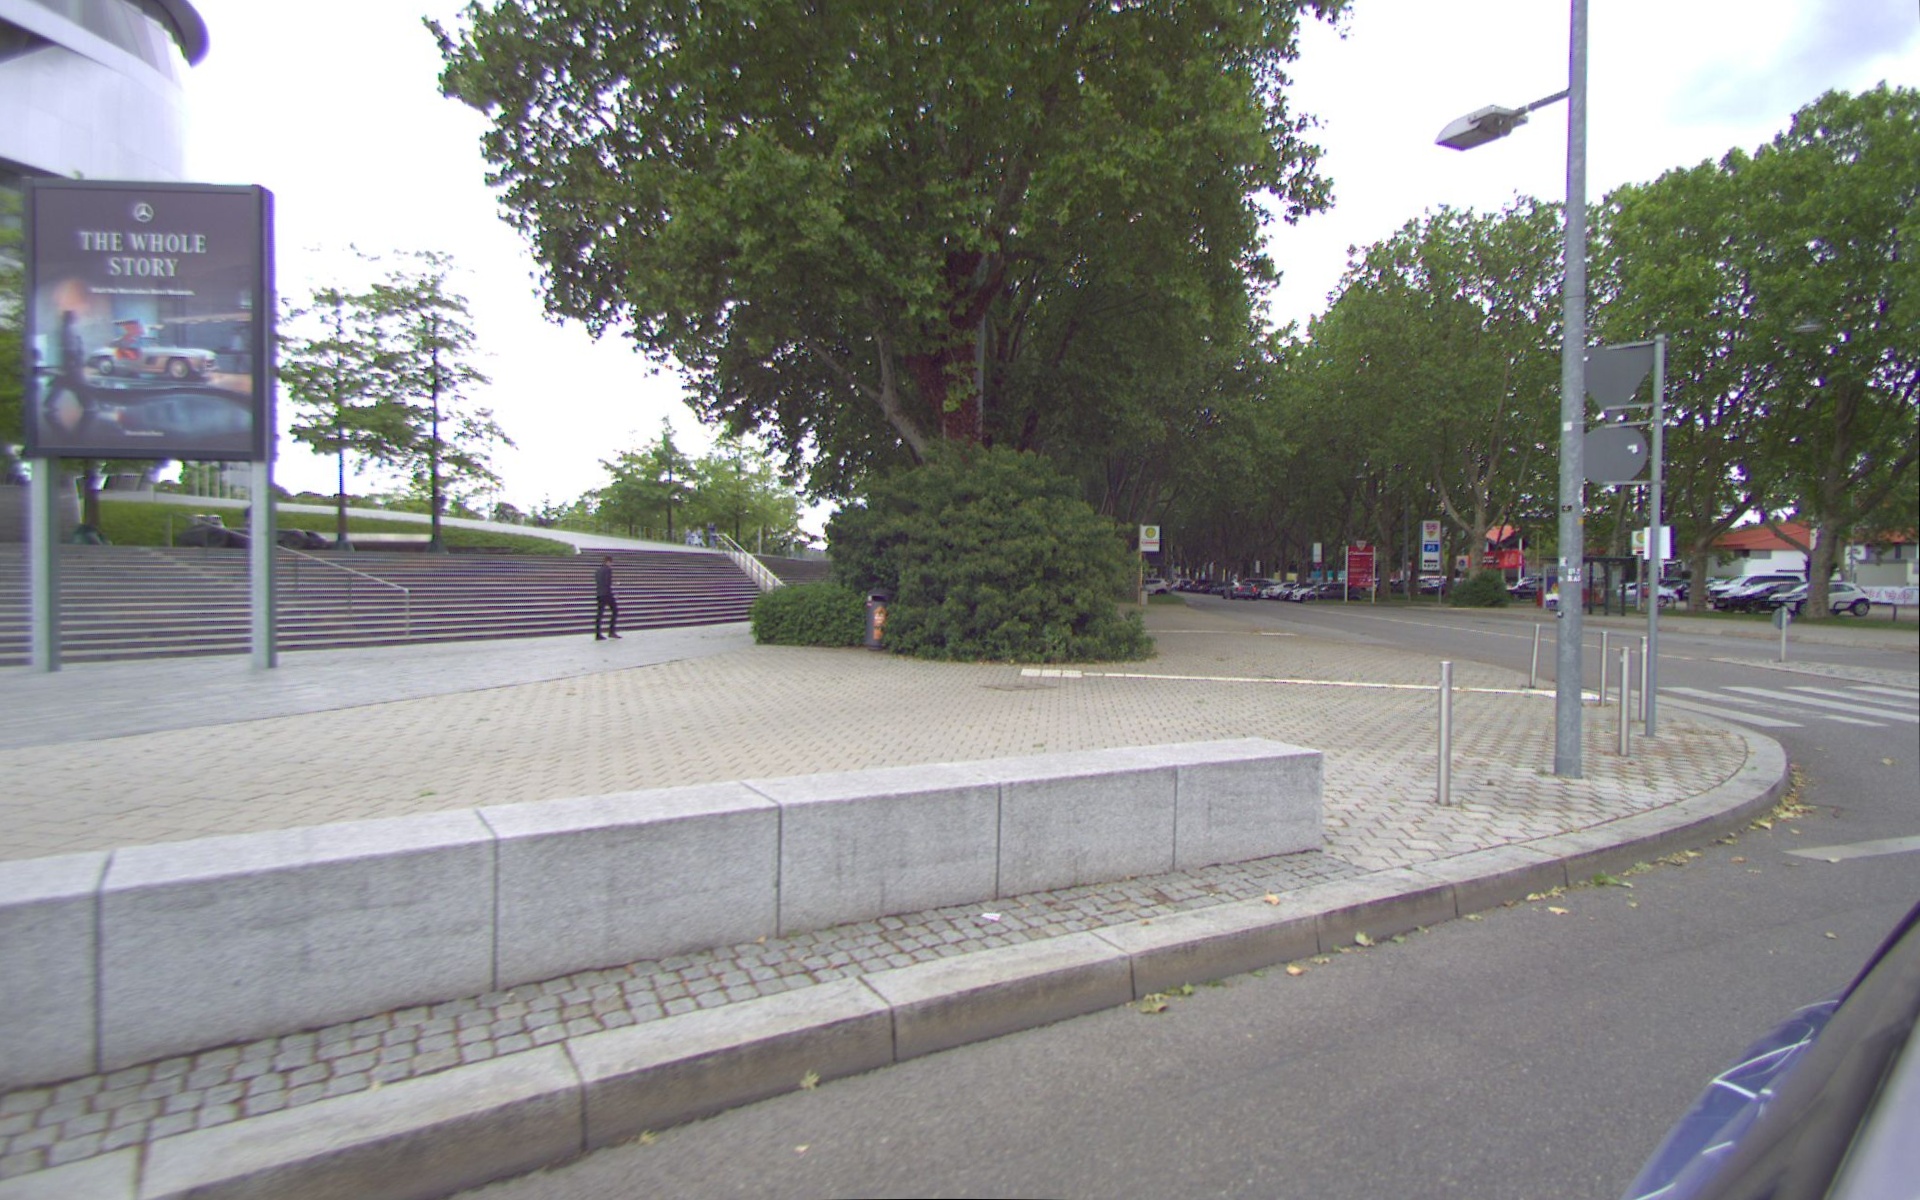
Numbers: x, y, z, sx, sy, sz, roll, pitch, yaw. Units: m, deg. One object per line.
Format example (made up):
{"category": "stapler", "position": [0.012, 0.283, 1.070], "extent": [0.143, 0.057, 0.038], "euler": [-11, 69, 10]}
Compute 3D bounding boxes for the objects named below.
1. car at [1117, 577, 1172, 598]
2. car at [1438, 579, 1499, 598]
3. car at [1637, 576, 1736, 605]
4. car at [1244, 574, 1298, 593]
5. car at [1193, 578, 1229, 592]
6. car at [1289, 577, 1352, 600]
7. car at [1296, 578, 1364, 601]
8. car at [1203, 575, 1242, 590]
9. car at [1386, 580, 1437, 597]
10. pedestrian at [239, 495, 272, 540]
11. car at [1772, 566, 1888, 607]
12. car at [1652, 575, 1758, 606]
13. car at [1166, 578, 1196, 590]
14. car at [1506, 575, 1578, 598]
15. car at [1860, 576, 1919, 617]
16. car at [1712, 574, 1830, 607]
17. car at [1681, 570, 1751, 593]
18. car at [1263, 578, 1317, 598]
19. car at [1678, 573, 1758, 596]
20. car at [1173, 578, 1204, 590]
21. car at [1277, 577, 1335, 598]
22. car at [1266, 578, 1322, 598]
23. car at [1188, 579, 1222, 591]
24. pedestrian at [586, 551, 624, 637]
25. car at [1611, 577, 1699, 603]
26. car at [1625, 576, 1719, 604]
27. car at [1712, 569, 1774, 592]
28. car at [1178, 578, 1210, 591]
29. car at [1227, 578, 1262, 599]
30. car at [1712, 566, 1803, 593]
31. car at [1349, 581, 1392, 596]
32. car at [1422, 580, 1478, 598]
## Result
{"category": "car", "position": [13.798, -0.949, 75.884], "extent": [3.938, 1.538, 1.869], "euler": [0, 0, 6]}
{"category": "car", "position": [40.459, -0.903, 80.608], "extent": [3.947, 1.538, 1.864], "euler": [0, 0, 13]}
{"category": "car", "position": [39.701, -0.530, 55.367], "extent": [3.945, 1.538, 1.865], "euler": [0, 0, 12]}
{"category": "car", "position": [28.032, -1.446, 91.340], "extent": [4.361, 1.673, 1.793], "euler": [0, 0, 7]}
{"category": "car", "position": [28.972, -1.758, 116.987], "extent": [3.945, 1.538, 1.865], "euler": [0, 0, 12]}
{"category": "car", "position": [25.580, -0.814, 71.928], "extent": [3.945, 1.538, 1.865], "euler": [0, 0, 12]}
{"category": "car", "position": [25.417, -0.732, 69.640], "extent": [4.112, 1.538, 1.865], "euler": [0, 0, 12]}
{"category": "car", "position": [28.137, -1.904, 108.502], "extent": [3.945, 1.538, 1.865], "euler": [0, 0, 12]}
{"category": "car", "position": [41.880, -1.069, 93.968], "extent": [3.947, 1.538, 1.864], "euler": [0, 0, 13]}
{"category": "pedestrian", "position": [-22.562, -2.633, 32.421], "extent": [0.775, 1.405, 0.684], "euler": [0, 0, -26]}
{"category": "car", "position": [39.383, -0.594, 45.881], "extent": [3.649, 1.800, 1.667], "euler": [0, 0, 8]}
{"category": "car", "position": [38.354, -0.492, 52.192], "extent": [3.945, 1.538, 1.865], "euler": [0, 0, 12]}
{"category": "car", "position": [30.799, -2.215, 141.113], "extent": [3.945, 1.538, 1.865], "euler": [0, 0, 12]}
{"category": "car", "position": [40.586, -0.936, 70.615], "extent": [3.947, 1.538, 1.864], "euler": [0, 0, 13]}
{"category": "car", "position": [37.551, -0.154, 38.905], "extent": [3.945, 1.538, 1.865], "euler": [0, 0, 12]}
{"category": "car", "position": [38.651, -0.457, 48.327], "extent": [3.943, 1.538, 1.866], "euler": [0, 0, 10]}
{"category": "car", "position": [56.983, -1.403, 76.360], "extent": [3.883, 1.673, 1.796], "euler": [0, 0, 2]}
{"category": "car", "position": [26.650, -0.977, 81.738], "extent": [3.945, 1.538, 1.865], "euler": [0, 0, 12]}
{"category": "car", "position": [51.037, -1.045, 68.204], "extent": [3.934, 1.538, 1.870], "euler": [0, 0, 3]}
{"category": "car", "position": [30.200, -2.056, 133.735], "extent": [3.945, 1.538, 1.865], "euler": [0, 0, 12]}
{"category": "car", "position": [26.062, -0.923, 76.381], "extent": [3.945, 1.538, 1.865], "euler": [0, 0, 12]}
{"category": "car", "position": [26.125, -0.950, 79.192], "extent": [3.945, 1.538, 1.865], "euler": [0, 0, 12]}
{"category": "car", "position": [30.045, -1.832, 124.170], "extent": [3.945, 1.538, 1.865], "euler": [0, 0, 12]}
{"category": "pedestrian", "position": [-7.545, -0.128, 21.510], "extent": [0.585, 1.784, 0.554], "euler": [0, 0, -41]}
{"category": "car", "position": [42.139, -0.600, 61.429], "extent": [3.945, 1.538, 1.865], "euler": [0, 0, 12]}
{"category": "car", "position": [41.092, -0.567, 58.488], "extent": [3.945, 1.538, 1.865], "euler": [0, 0, 12]}
{"category": "car", "position": [60.818, -1.471, 78.665], "extent": [1.763, 1.741, 3.955], "euler": [0, 0, 2]}
{"category": "car", "position": [29.841, -1.985, 129.121], "extent": [3.945, 1.538, 1.865], "euler": [0, 0, 12]}
{"category": "car", "position": [21.609, -0.907, 77.118], "extent": [2.072, 1.537, 4.593], "euler": [0, 0, 10]}
{"category": "car", "position": [50.998, -1.284, 64.771], "extent": [4.355, 1.673, 1.796], "euler": [0, 0, 2]}
{"category": "car", "position": [43.250, -1.192, 106.674], "extent": [3.945, 1.538, 1.865], "euler": [0, 0, 12]}
{"category": "car", "position": [42.157, -0.923, 87.156], "extent": [3.947, 1.538, 1.864], "euler": [0, 0, 13]}
